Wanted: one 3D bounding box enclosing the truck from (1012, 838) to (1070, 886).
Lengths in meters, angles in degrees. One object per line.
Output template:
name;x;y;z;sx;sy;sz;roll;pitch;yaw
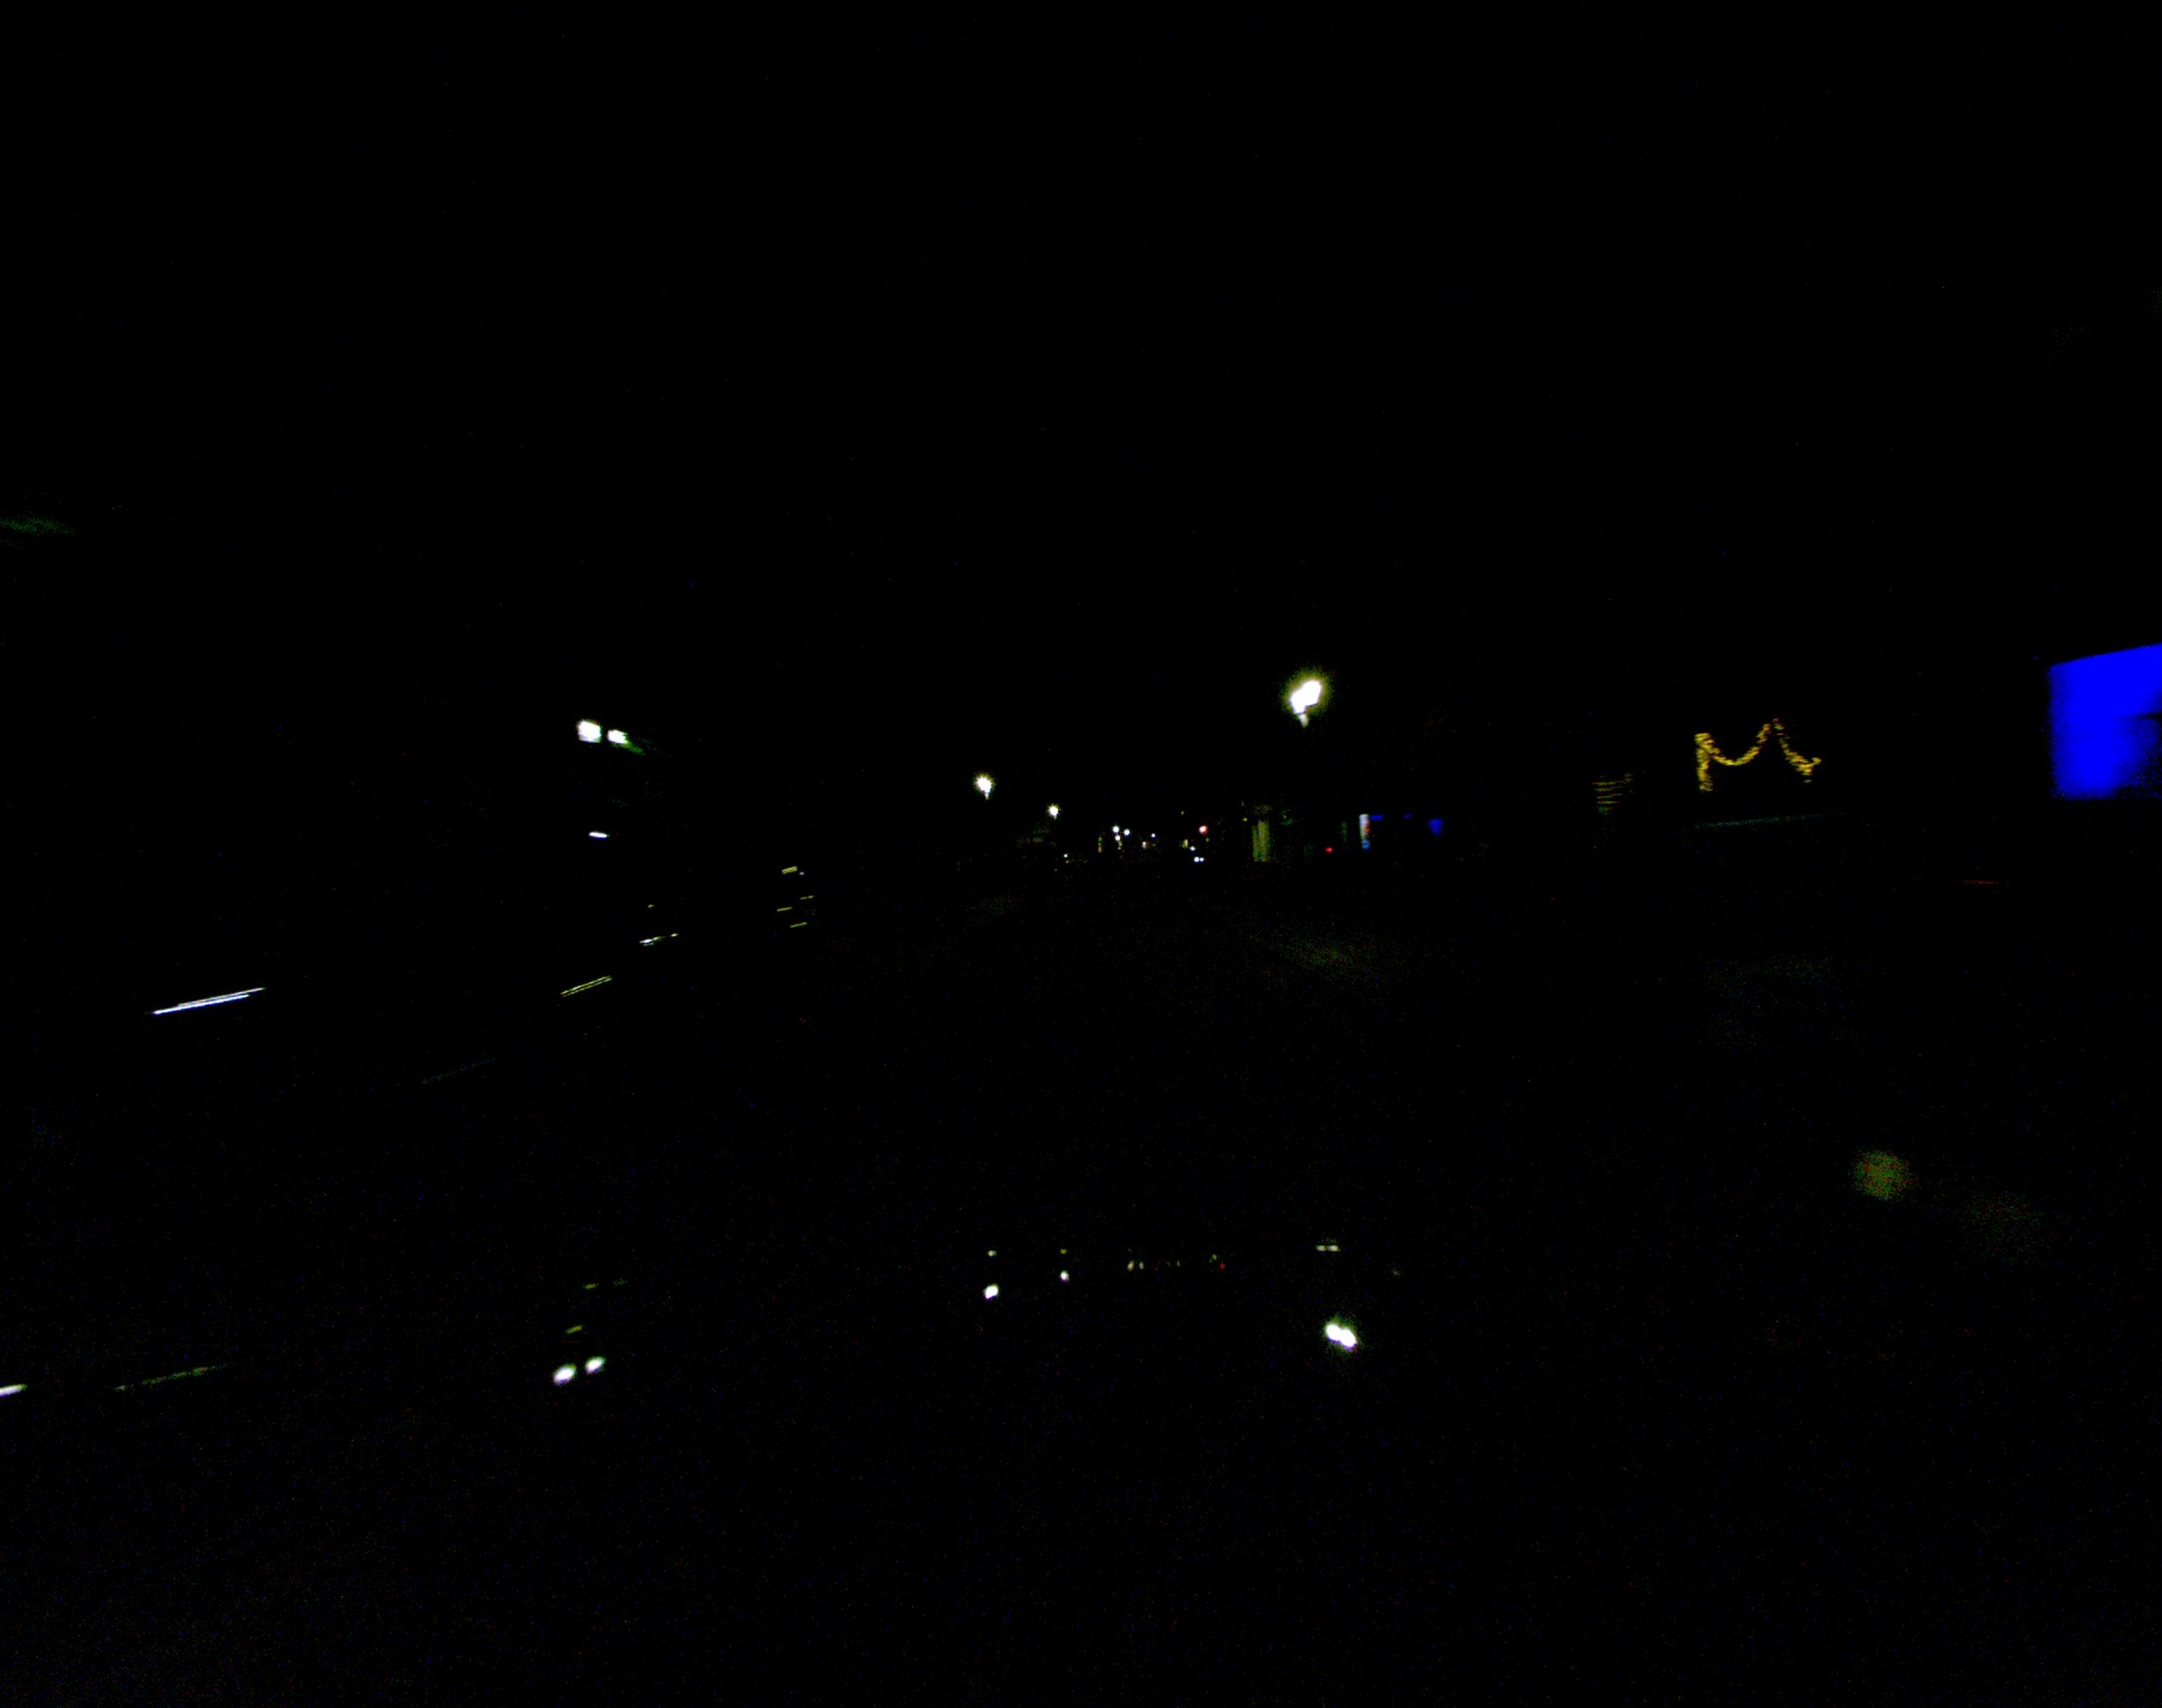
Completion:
truck;-2.027;0.363;40.846;2.109;2.230;6.289;-3;0;5

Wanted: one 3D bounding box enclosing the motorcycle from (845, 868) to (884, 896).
motorcycle;-10.656;1.370;37.409;1.725;1.244;0.433;-3;1;-7

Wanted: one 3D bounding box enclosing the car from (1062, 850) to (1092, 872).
car;-0.235;0.486;55.926;1.737;1.493;4.001;-3;0;6

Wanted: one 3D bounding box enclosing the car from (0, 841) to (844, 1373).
car;-3.375;0.888;5.130;1.912;1.792;4.936;-3;0;0
